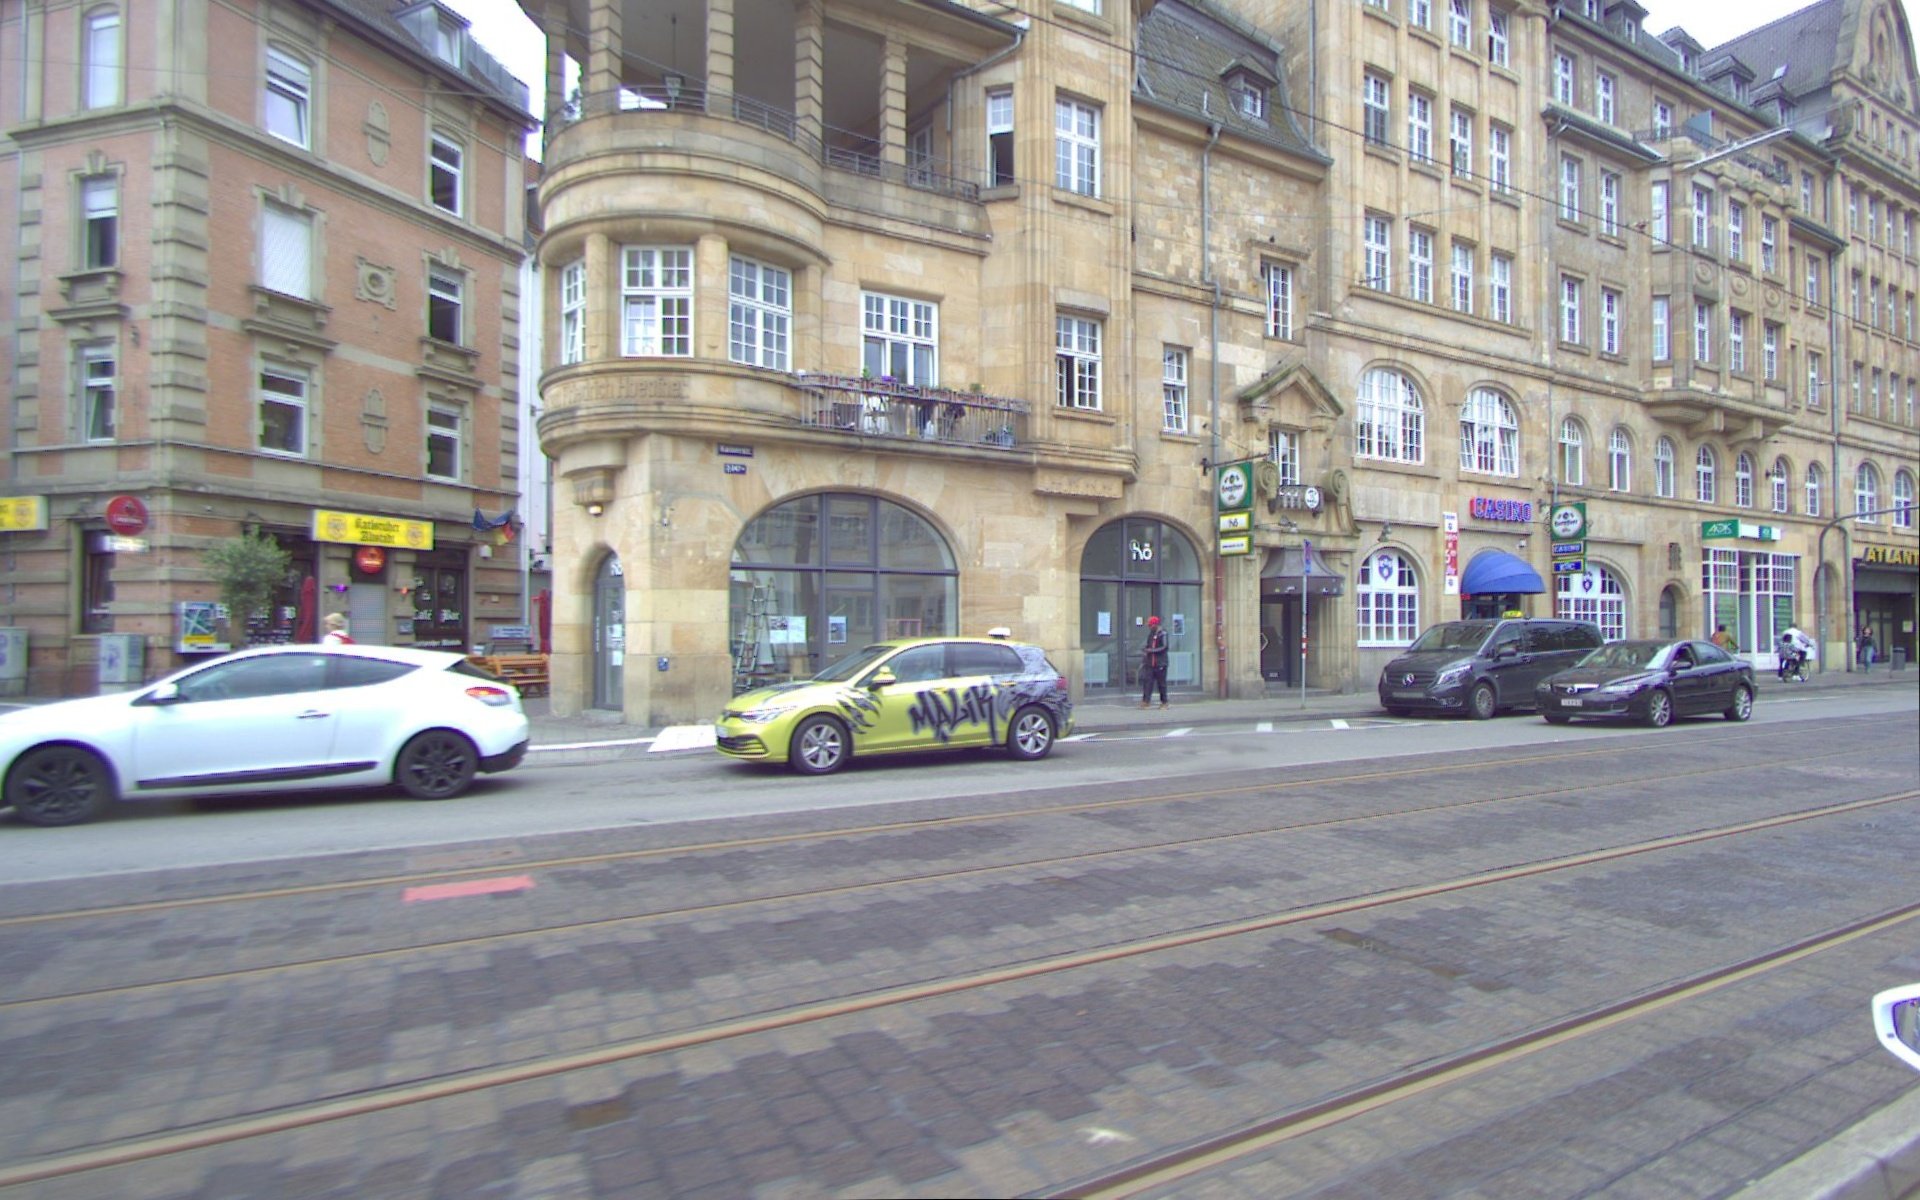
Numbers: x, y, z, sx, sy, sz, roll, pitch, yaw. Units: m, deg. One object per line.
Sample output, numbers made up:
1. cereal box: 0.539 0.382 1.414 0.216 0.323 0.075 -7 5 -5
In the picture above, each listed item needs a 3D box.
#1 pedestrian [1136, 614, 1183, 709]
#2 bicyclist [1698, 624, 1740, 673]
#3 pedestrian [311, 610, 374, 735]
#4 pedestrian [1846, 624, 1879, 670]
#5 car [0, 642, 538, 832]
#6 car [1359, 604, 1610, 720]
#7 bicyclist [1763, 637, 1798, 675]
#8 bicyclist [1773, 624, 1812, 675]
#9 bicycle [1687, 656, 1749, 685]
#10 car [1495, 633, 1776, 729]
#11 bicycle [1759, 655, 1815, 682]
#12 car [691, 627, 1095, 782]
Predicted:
1. pedestrian: 3.766 1.152 18.985 0.757 1.750 0.492 1 -2 -33
2. bicyclist: 21.257 1.340 28.142 0.960 1.341 0.608 1 -1 -30
3. pedestrian: -8.871 1.023 14.435 0.525 1.742 0.629 -1 -2 42
4. pedestrian: 32.646 1.701 36.342 0.733 1.634 0.682 1 -1 -30
5. car: -6.198 1.101 9.186 4.203 1.398 1.920 1 -2 -27
6. car: 10.240 1.183 19.523 5.037 2.002 1.891 1 -4 -30
7. bicyclist: 24.722 1.688 30.275 0.651 1.132 0.608 1 -1 -30
8. bicyclist: 25.435 1.502 30.683 0.960 1.507 0.608 1 -1 -30
9. bicycle: 21.225 1.972 28.112 2.224 0.755 0.579 1 -2 -30
10. car: 11.473 1.319 17.037 4.604 1.452 1.822 1 -4 -25
11. bicycle: 25.110 2.071 30.479 2.224 0.755 0.579 1 -2 -30
12. car: -0.758 1.110 11.808 4.371 1.530 1.892 1 -3 -28
